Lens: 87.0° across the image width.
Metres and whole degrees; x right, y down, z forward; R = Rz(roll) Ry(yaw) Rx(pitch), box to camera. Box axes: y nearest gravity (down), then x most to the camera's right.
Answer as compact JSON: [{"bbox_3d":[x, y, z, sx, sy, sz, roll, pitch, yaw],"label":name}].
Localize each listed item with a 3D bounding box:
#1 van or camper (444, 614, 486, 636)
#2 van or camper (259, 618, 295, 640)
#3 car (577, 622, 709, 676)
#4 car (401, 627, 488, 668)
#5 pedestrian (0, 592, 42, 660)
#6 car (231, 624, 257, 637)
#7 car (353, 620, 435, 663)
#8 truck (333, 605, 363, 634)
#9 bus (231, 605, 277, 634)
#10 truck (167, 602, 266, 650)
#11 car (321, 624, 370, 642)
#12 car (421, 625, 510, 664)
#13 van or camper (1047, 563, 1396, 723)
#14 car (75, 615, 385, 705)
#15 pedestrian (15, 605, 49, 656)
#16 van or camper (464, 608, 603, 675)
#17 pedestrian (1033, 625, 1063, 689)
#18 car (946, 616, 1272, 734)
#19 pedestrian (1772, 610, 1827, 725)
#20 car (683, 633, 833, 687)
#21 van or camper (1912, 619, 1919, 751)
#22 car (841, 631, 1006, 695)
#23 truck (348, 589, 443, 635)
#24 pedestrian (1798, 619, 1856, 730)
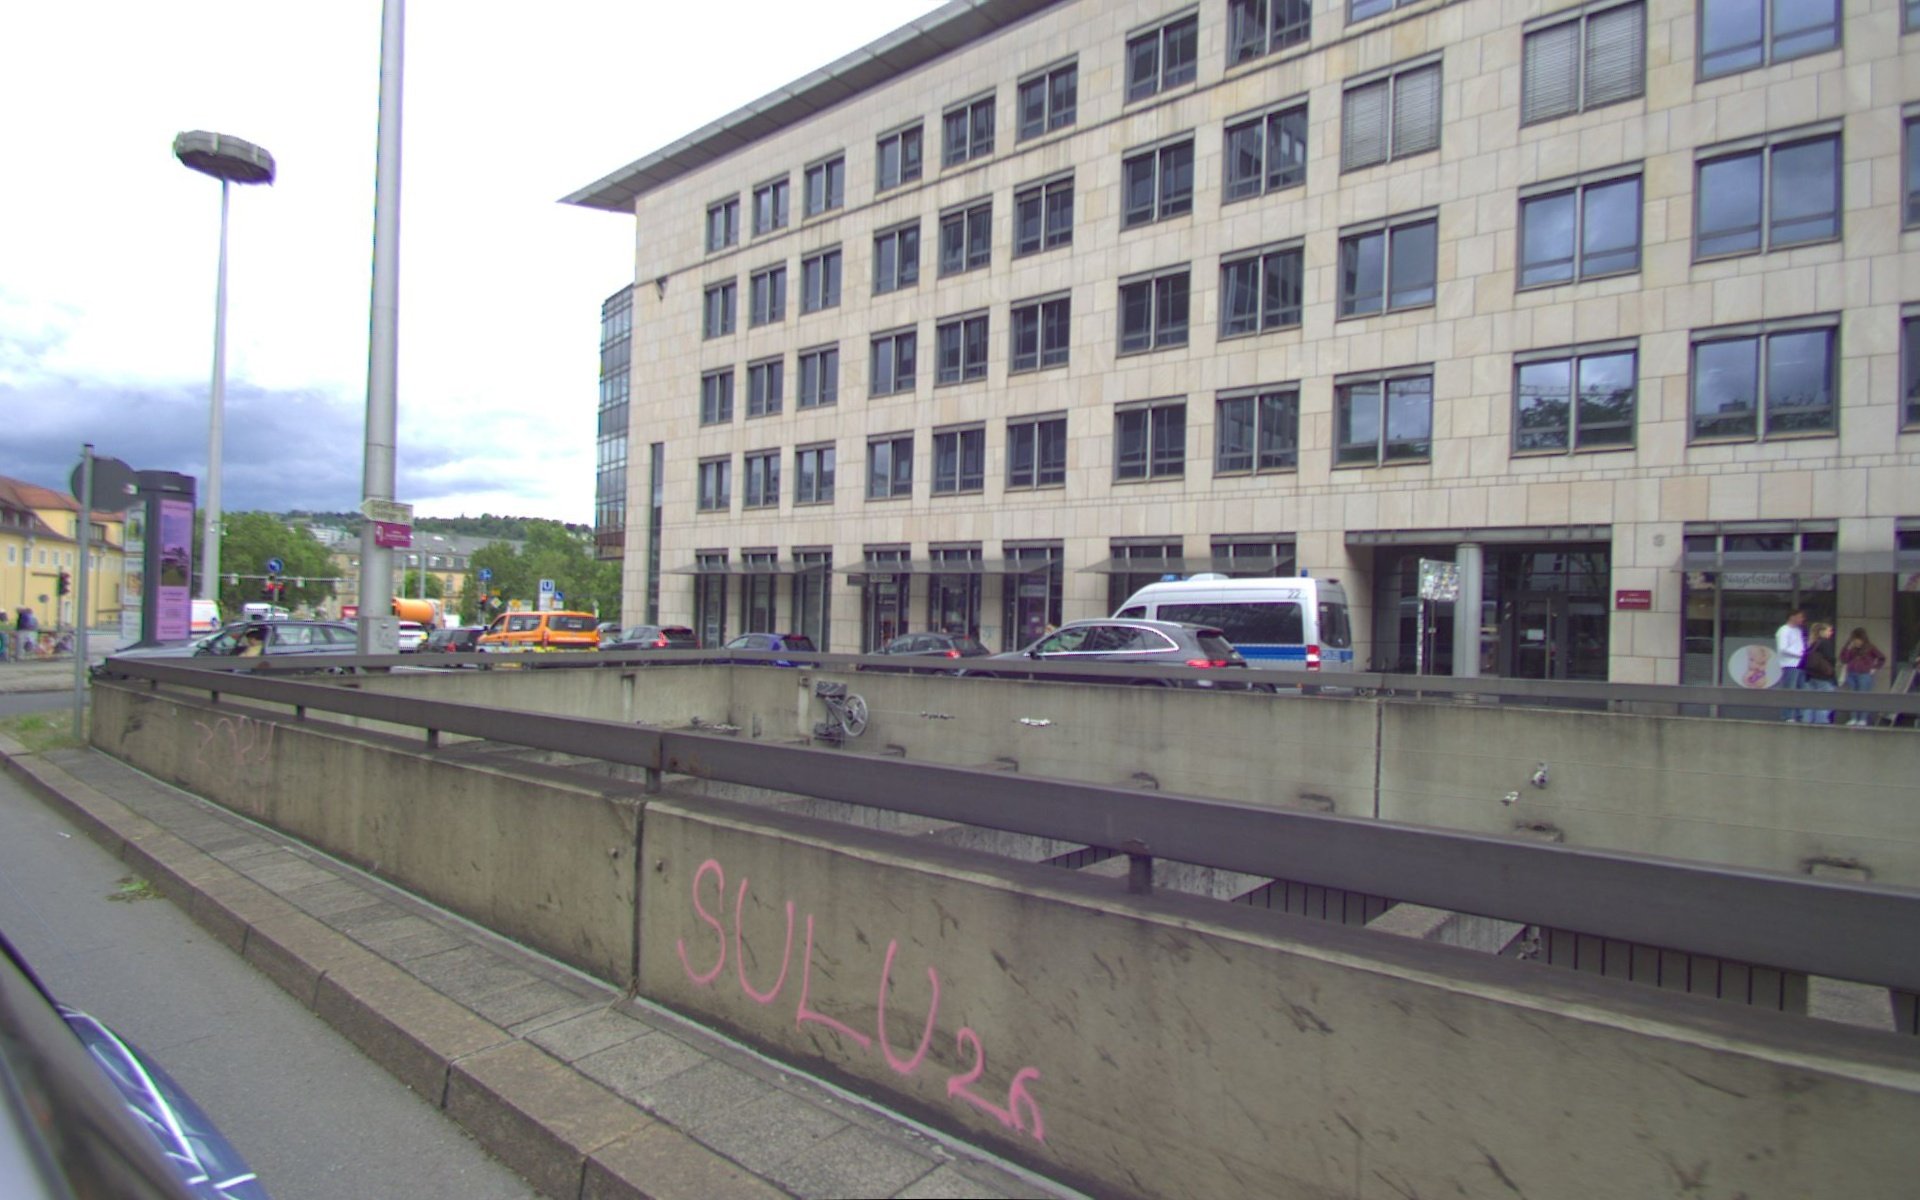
[{"bbox_3d":[-62.801,3.209,128.639,2.117,2.496,6.159,3,-3,1],"label":"van or camper"},{"bbox_3d":[-76.727,3.257,113.754,2.334,2.280,6.308,3,-3,-25],"label":"van or camper"},{"bbox_3d":[-10.560,1.605,33.590,4.680,1.658,1.973,-1,-4,41],"label":"car"},{"bbox_3d":[-18.488,1.691,36.225,3.632,1.390,1.539,-1,-4,42],"label":"car"},{"bbox_3d":[-31.085,0.863,33.389,0.758,2.189,0.872,0,-2,23],"label":"pedestrian"},{"bbox_3d":[-78.800,3.371,111.410,1.797,1.419,4.013,2,-2,-28],"label":"car"},{"bbox_3d":[-22.867,1.649,40.837,4.321,1.611,1.715,-1,-3,45],"label":"car"},{"bbox_3d":[-79.650,2.579,131.849,2.744,3.516,8.376,2,-3,-28],"label":"truck"},{"bbox_3d":[-85.379,2.364,122.618,3.376,3.228,13.103,1,-1,-30],"label":"bus"},{"bbox_3d":[-46.395,1.653,63.340,1.929,2.805,5.789,1,-2,-1],"label":"truck"},{"bbox_3d":[-55.688,3.007,91.757,3.746,1.588,2.006,2,-2,-32],"label":"car"},{"bbox_3d":[-20.744,1.821,42.410,4.091,1.537,1.972,-1,-3,43],"label":"car"},{"bbox_3d":[5.160,0.815,20.626,6.243,2.747,2.970,-1,-2,41],"label":"van or camper"},{"bbox_3d":[-13.438,1.050,18.816,4.494,1.469,1.884,2,-2,-41],"label":"car"},{"bbox_3d":[-33.756,1.112,36.813,0.634,1.804,0.708,-3,-7,41],"label":"pedestrian"},{"bbox_3d":[-13.373,1.283,31.555,5.081,1.936,1.893,-1,-4,41],"label":"van or camper"},{"bbox_3d":[2.301,1.483,26.489,0.627,1.636,0.494,-1,-2,41],"label":"pedestrian"},{"bbox_3d":[2.166,1.022,15.302,4.532,1.538,1.901,-1,-2,36],"label":"car"},{"bbox_3d":[14.169,1.116,17.083,0.679,1.889,0.610,-1,-2,40],"label":"pedestrian"},{"bbox_3d":[-5.984,1.711,29.685,4.572,1.406,1.972,-1,-2,42],"label":"car"},{"bbox_3d":[14.419,1.100,11.948,4.483,1.765,1.849,-1,-2,40],"label":"van or camper"},{"bbox_3d":[-0.970,1.556,25.567,4.028,1.460,1.750,-1,-4,41],"label":"car"},{"bbox_3d":[-48.045,0.969,86.470,2.692,3.643,9.173,2,0,2],"label":"truck"},{"bbox_3d":[13.917,1.179,16.253,0.680,1.730,0.548,-1,-2,41],"label":"pedestrian"}]
